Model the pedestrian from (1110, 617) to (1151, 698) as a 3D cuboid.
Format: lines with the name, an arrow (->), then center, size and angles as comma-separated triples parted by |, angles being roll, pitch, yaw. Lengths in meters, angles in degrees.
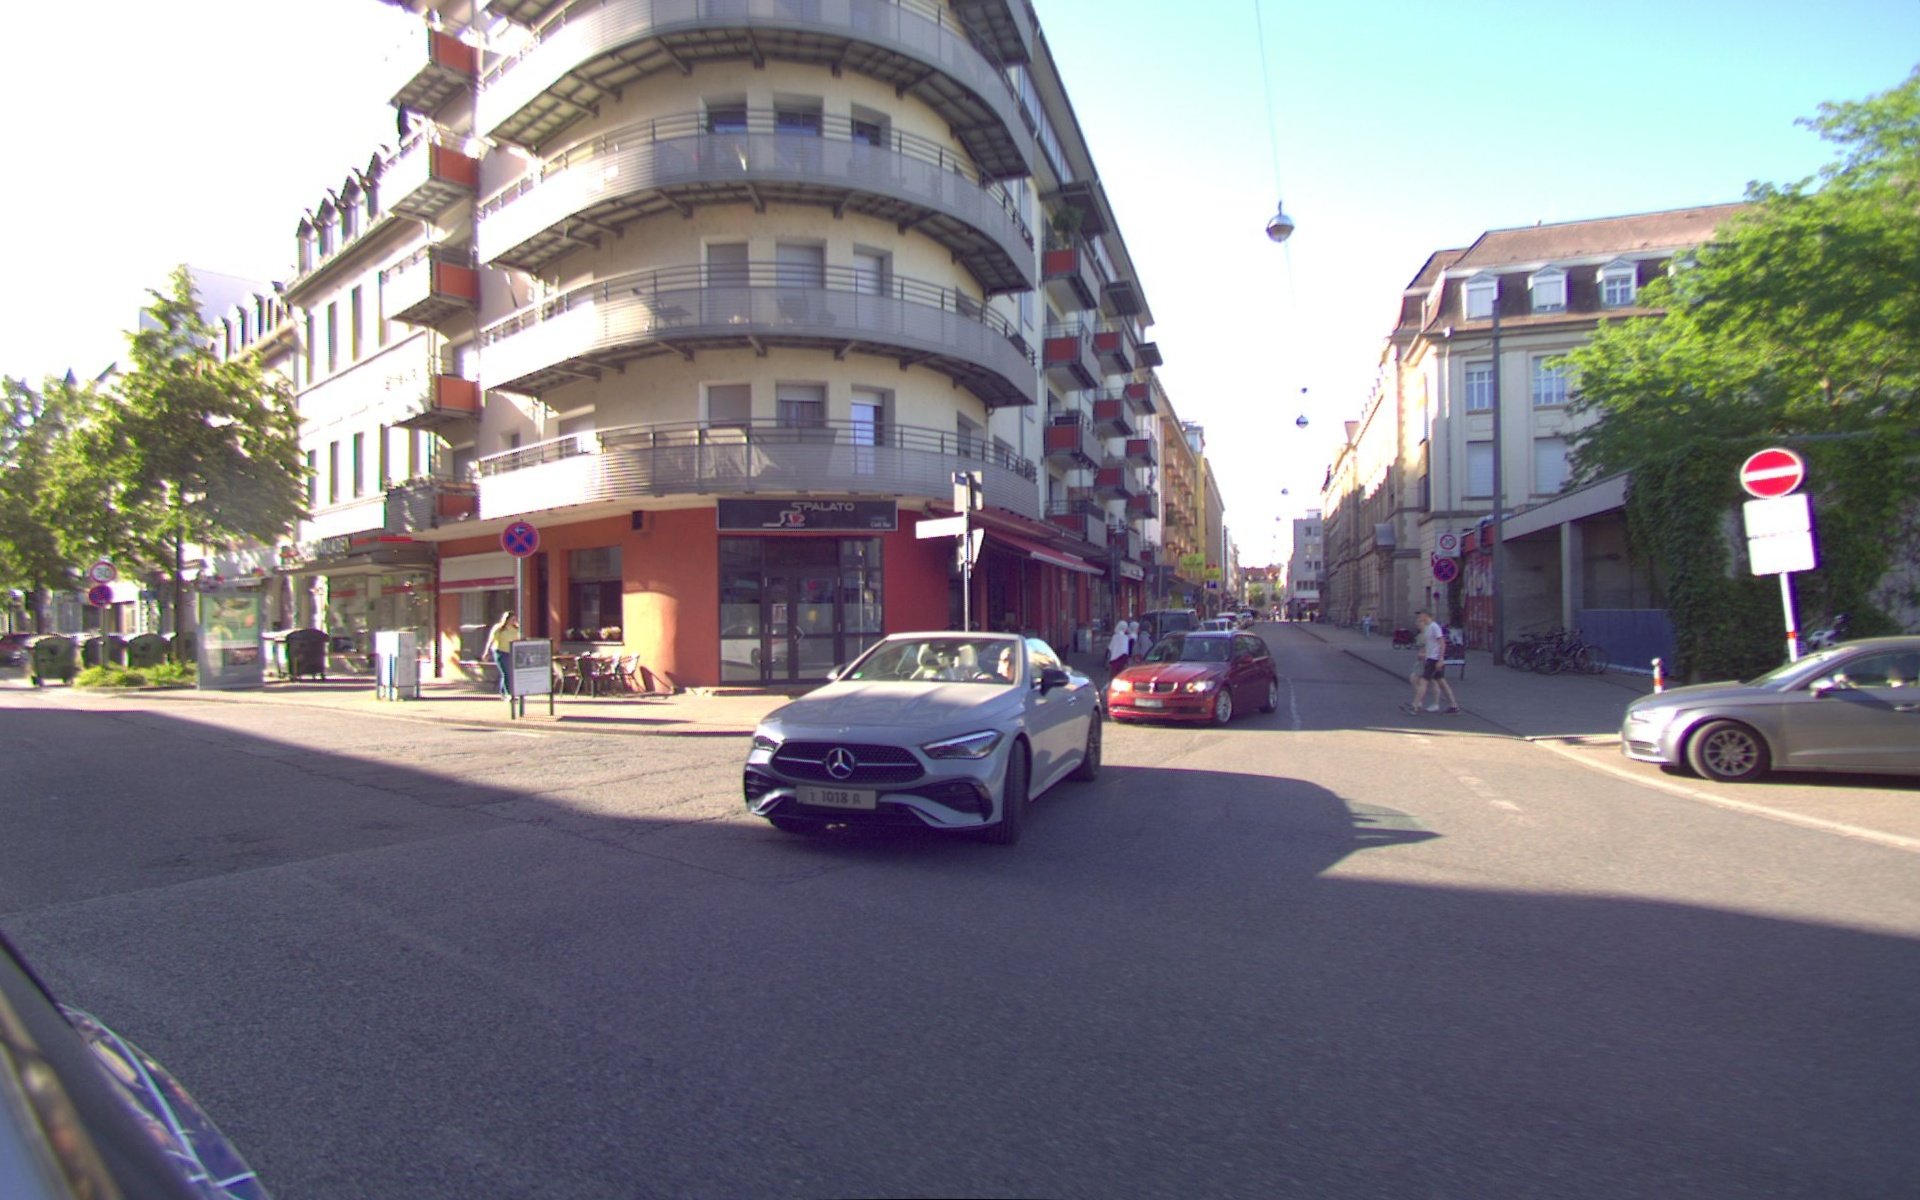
pedestrian -> 3.328, 1.112, 19.779 | 0.690, 1.547, 0.575 | -1, -1, 0

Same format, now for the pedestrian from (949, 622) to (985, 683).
pedestrian -> 0.152, 1.157, 22.498 | 0.693, 1.350, 0.572 | -1, -2, 13

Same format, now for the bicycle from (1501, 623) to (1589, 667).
bicycle -> 15.638, 1.201, 27.103 | 1.946, 1.140, 0.504 | -1, -2, 13

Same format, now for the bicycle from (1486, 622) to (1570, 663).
bicycle -> 15.885, 1.192, 28.323 | 1.946, 1.140, 0.504 | -1, -2, 13

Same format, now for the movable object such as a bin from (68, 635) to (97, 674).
movable object such as a bin -> -31.200, 1.930, 35.985 | 0.804, 1.351, 0.628 | -2, -2, 40

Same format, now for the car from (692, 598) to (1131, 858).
car -> 0.063, 0.806, 8.351 | 1.983, 1.434, 5.087 | 0, -2, 18

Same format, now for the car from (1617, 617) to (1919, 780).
car -> 8.991, 0.885, 9.635 | 4.526, 1.434, 1.733 | -3, -3, 34

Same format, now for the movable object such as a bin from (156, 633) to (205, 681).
movable object such as a bin -> -24.997, 1.800, 32.460 | 1.142, 1.483, 1.031 | -2, -2, 40

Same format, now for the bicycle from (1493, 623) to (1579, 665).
bicycle -> 15.760, 1.206, 27.711 | 1.946, 1.140, 0.504 | -1, -2, 13

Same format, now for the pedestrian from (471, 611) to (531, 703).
pedestrian -> -8.686, 1.061, 19.152 | 1.036, 1.672, 0.658 | -2, -2, 41

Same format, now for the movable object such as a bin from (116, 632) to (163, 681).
movable object such as a bin -> -25.666, 1.763, 31.663 | 1.142, 1.483, 0.954 | -2, -2, 40

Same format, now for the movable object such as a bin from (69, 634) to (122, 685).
movable object such as a bin -> -26.239, 1.789, 30.723 | 1.142, 1.483, 1.031 | -2, -2, 40

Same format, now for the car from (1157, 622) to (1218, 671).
car -> 8.414, 1.688, 37.209 | 1.894, 1.672, 4.159 | 0, -2, 17

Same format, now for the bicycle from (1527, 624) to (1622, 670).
bicycle -> 15.344, 1.170, 25.297 | 1.946, 1.140, 0.504 | -1, -2, 13

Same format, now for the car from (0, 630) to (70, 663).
car -> -46.366, 2.294, 49.679 | 1.770, 1.497, 3.877 | -2, -1, 42

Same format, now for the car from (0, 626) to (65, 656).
car -> -51.096, 2.222, 54.217 | 1.788, 1.469, 4.449 | -2, 0, 39

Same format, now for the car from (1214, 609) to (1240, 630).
car -> 21.577, 1.617, 81.777 | 1.894, 1.585, 4.159 | 0, -2, 17

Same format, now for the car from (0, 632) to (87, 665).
car -> -44.292, 2.283, 48.297 | 1.789, 1.439, 3.799 | -2, -1, 43

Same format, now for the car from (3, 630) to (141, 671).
car -> -36.732, 2.043, 41.922 | 1.740, 1.479, 4.157 | -2, -1, 43

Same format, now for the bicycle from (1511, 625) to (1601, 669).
bicycle -> 15.569, 1.224, 26.481 | 1.946, 1.140, 0.504 | -1, -2, 13

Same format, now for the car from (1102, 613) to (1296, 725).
car -> 4.008, 1.035, 16.352 | 1.912, 1.527, 4.689 | -1, -2, 28

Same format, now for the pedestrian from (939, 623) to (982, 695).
pedestrian -> 0.014, 1.111, 19.181 | 0.693, 1.350, 0.572 | -1, -2, 13

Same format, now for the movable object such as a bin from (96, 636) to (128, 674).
movable object such as a bin -> -30.705, 1.993, 36.632 | 0.804, 1.351, 0.747 | -2, -2, 40

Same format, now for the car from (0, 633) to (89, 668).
car -> -42.519, 2.304, 46.420 | 1.738, 1.479, 3.709 | -2, -1, 41

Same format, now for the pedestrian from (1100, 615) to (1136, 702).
pedestrian -> 2.873, 1.053, 18.414 | 0.545, 1.547, 0.542 | -1, -1, 0

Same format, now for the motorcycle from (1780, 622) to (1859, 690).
motorcycle -> 16.068, 1.028, 18.907 | 1.665, 1.217, 0.507 | 0, -2, -28

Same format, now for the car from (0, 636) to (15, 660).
car -> -67.345, 3.309, 68.829 | 1.979, 1.582, 4.320 | -2, -1, 41

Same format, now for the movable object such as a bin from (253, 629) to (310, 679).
movable object such as a bin -> -19.288, 1.517, 28.762 | 1.313, 1.355, 1.031 | -2, -2, 40

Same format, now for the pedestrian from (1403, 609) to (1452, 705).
pedestrian -> 8.106, 0.980, 17.570 | 0.576, 1.625, 0.614 | -1, -2, 8

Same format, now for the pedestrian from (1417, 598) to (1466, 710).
pedestrian -> 8.032, 0.892, 16.906 | 0.552, 1.841, 0.586 | -1, -2, 8

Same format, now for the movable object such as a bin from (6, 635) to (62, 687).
movable object such as a bin -> -27.296, 1.779, 29.839 | 1.451, 1.483, 1.031 | -2, -2, 40

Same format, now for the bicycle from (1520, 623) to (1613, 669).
bicycle -> 15.463, 1.172, 25.825 | 1.946, 1.140, 0.504 | -1, -2, 13

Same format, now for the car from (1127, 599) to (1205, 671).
car -> 6.479, 1.081, 31.509 | 2.018, 2.065, 4.326 | 0, -2, 17

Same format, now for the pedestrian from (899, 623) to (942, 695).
pedestrian -> -0.758, 1.122, 19.453 | 0.693, 1.350, 0.572 | -1, -2, 13

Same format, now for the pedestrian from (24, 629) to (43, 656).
pedestrian -> -64.023, 2.934, 69.922 | 0.762, 1.779, 0.767 | -2, 3, 39

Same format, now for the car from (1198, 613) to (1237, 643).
car -> 14.028, 1.530, 54.963 | 1.894, 1.585, 4.159 | 0, -2, 17

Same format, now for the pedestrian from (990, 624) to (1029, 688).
pedestrian -> 1.058, 1.194, 21.692 | 0.688, 1.350, 0.576 | 0, -2, -11

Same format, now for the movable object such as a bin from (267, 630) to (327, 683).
movable object such as a bin -> -18.165, 1.524, 27.728 | 1.313, 1.415, 1.031 | -2, -2, 40

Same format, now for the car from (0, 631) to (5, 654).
car -> -69.706, 3.038, 70.616 | 1.945, 1.582, 4.320 | -2, -1, 41

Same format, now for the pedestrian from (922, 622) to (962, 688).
pedestrian -> -0.372, 1.125, 20.840 | 0.693, 1.350, 0.572 | -1, -2, 13

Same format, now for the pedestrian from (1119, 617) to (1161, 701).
pedestrian -> 3.403, 1.109, 19.144 | 0.677, 1.547, 0.542 | -1, -1, 0
